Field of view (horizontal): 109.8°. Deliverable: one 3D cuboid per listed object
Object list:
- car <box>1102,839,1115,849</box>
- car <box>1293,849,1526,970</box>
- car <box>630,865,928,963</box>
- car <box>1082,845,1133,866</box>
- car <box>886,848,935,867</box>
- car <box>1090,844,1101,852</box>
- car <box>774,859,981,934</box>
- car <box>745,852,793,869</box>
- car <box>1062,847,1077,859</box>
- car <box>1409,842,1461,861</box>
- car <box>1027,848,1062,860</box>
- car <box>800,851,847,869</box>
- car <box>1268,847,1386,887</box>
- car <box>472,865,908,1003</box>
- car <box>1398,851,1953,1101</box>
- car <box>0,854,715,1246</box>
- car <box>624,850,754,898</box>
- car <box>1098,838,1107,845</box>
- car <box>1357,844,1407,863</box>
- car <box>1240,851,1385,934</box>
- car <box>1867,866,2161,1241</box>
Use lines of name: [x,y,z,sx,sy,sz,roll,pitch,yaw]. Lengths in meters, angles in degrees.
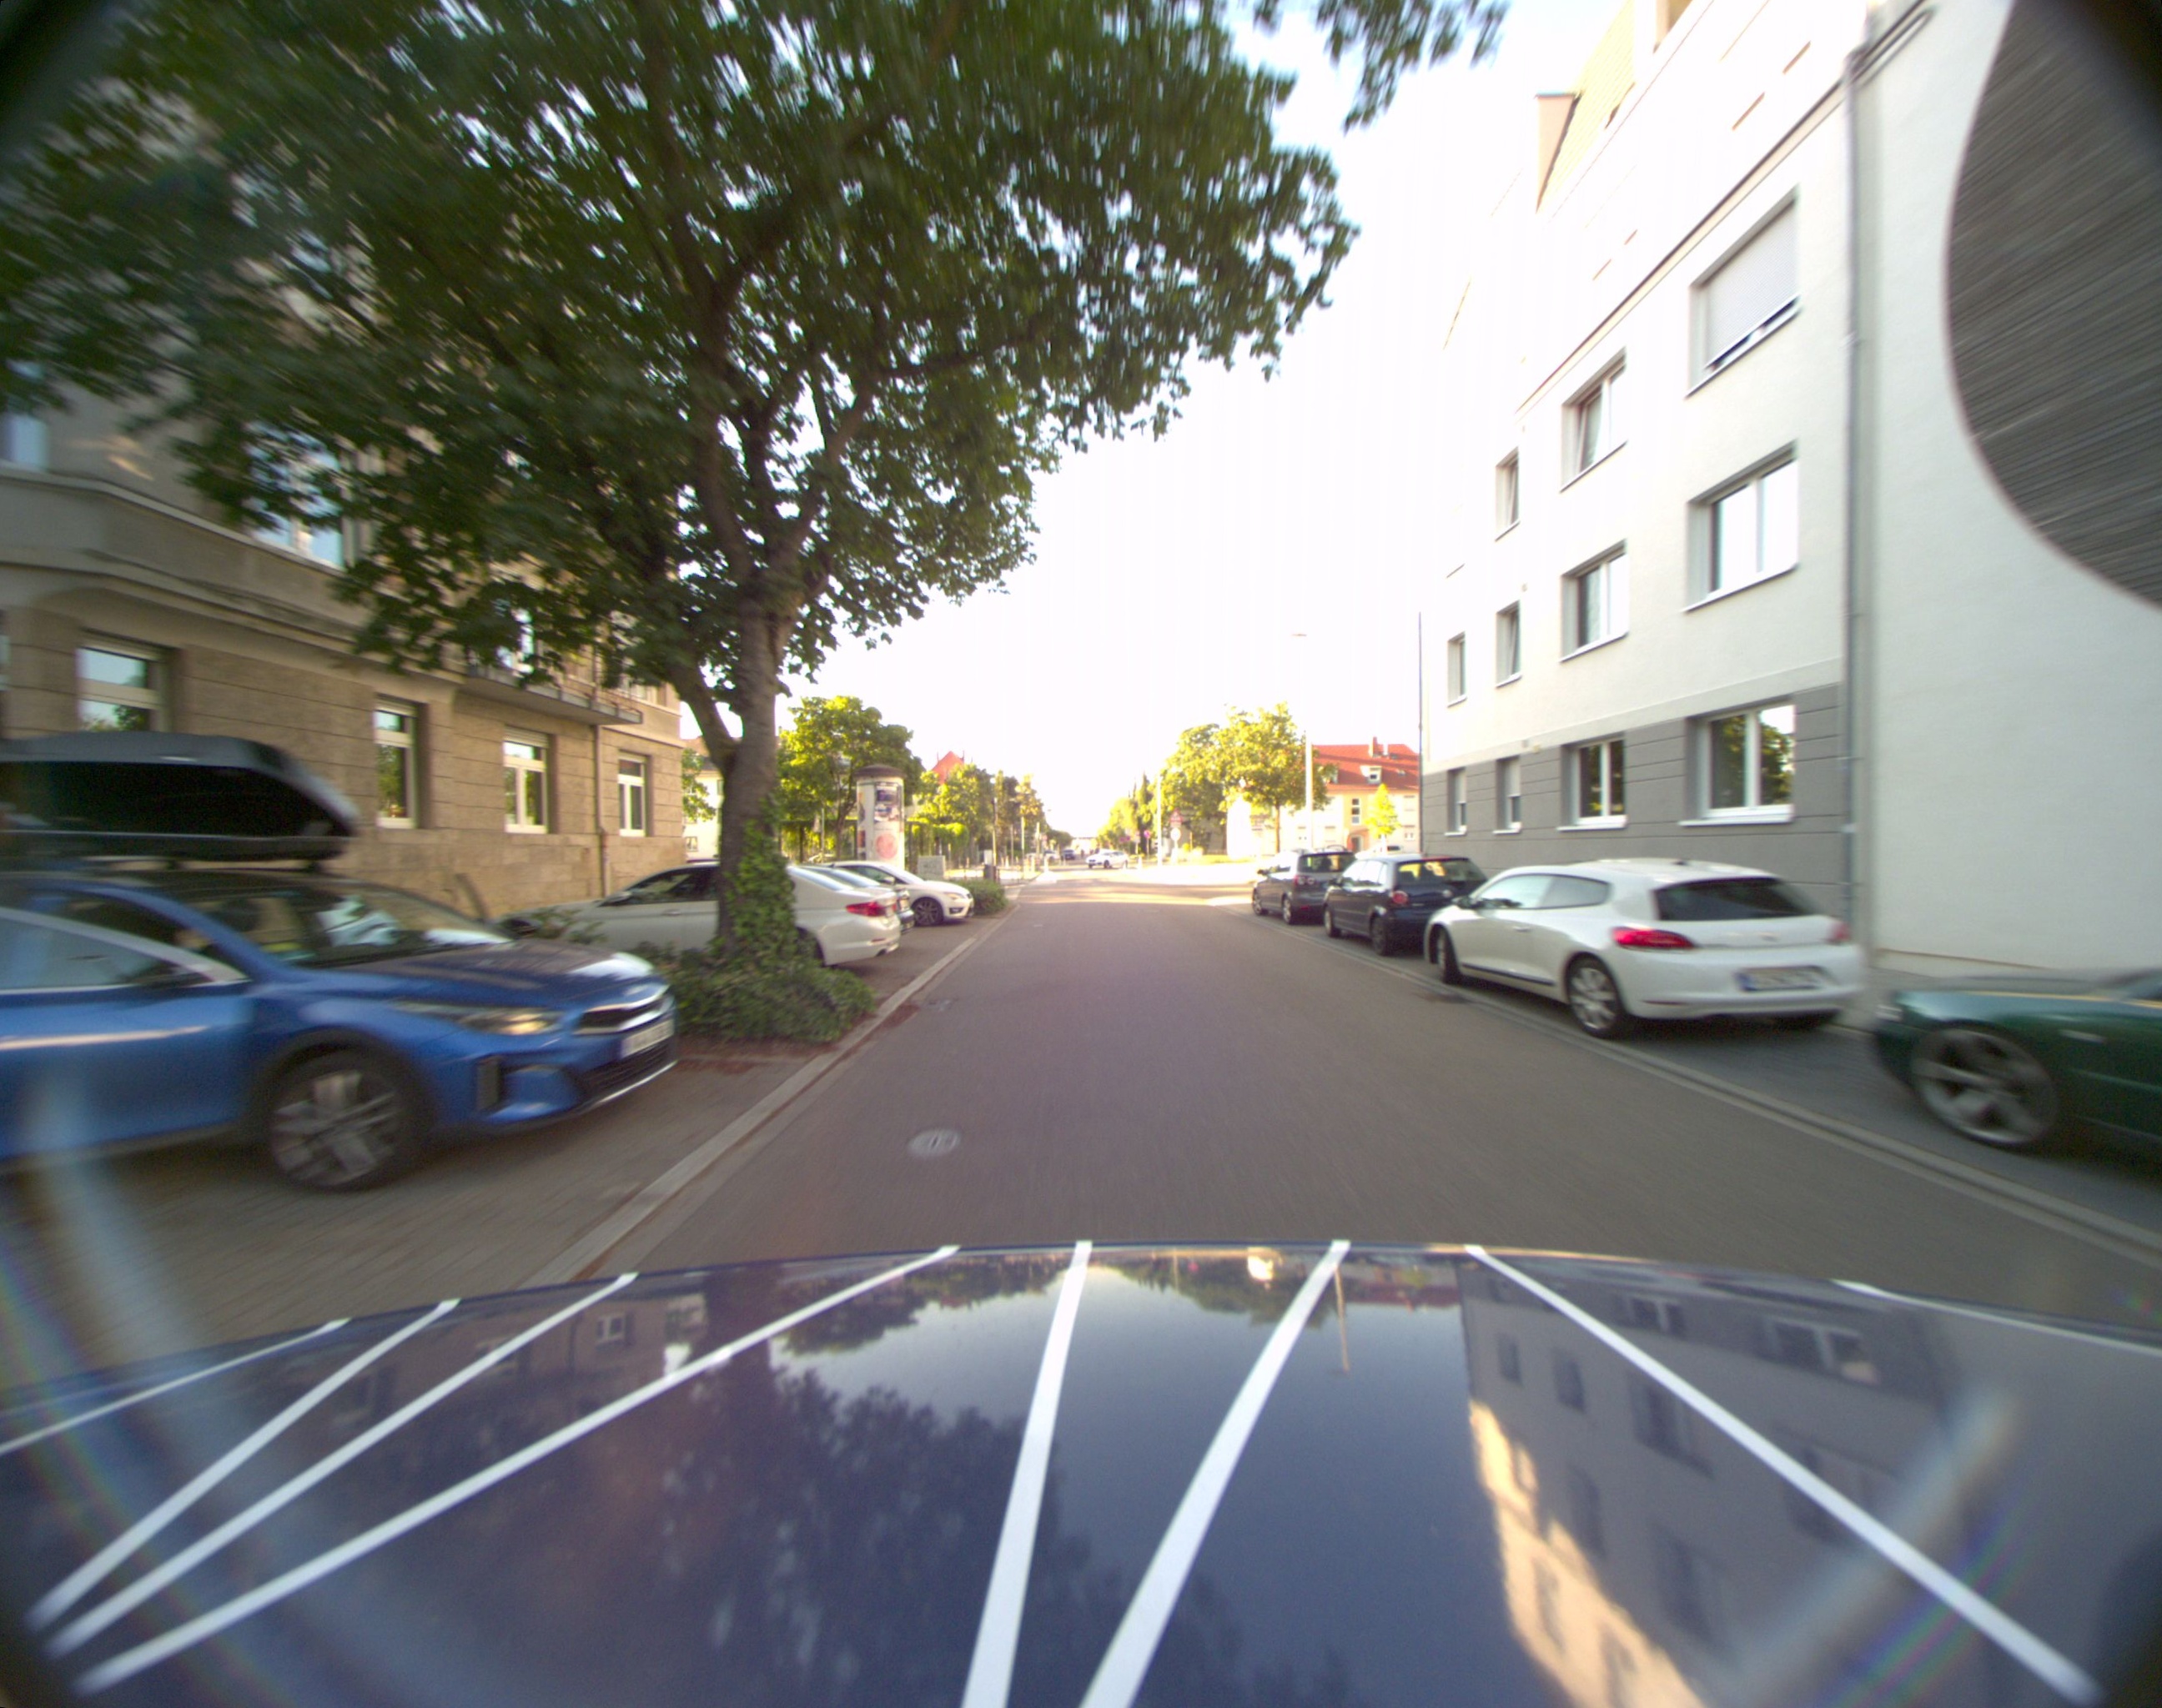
car: [4.593,-1.734,126.675,1.970,1.604,4.246,-1,1,-1]
car: [5.052,0.736,12.375,1.889,1.582,4.089,-1,1,-2]
car: [-4.742,0.925,12.360,4.153,1.439,1.673,0,1,-1]
car: [2.270,0.110,64.471,1.866,1.685,4.310,-2,-1,43]
car: [-16.216,0.324,72.459,4.214,1.631,1.823,-1,-1,-2]
car: [3.006,-1.236,157.732,1.970,1.604,4.246,-1,1,-1]
car: [-4.382,0.895,16.863,4.059,1.497,1.861,-1,1,-1]
car: [-29.780,0.622,72.606,3.757,1.509,1.735,-1,1,0]
car: [-1.747,-0.205,111.619,1.971,1.604,4.245,-1,1,-4]
car: [33.693,-0.243,72.392,3.998,1.685,1.851,-1,-1,-2]
car: [-5.096,-0.026,107.303,4.835,1.604,1.971,-1,1,-2]
car: [-24.540,0.552,72.479,3.769,1.517,1.770,-1,2,3]
car: [11.237,0.576,34.971,4.835,1.659,1.788,-1,1,1]
car: [-4.602,0.908,9.604,4.490,1.516,1.953,0,0,-6]
car: [4.826,0.802,7.099,1.889,1.582,4.089,-1,1,-2]
car: [-4.753,0.854,4.167,4.538,1.631,1.874,-1,1,-1]
car: [-15.160,0.791,29.564,4.085,1.730,1.812,-1,-1,-2]
car: [5.316,-3.045,189.206,1.970,1.604,4.246,-1,1,-1]
car: [28.614,-0.071,72.237,3.998,1.685,1.851,-1,-1,-2]
car: [5.054,0.754,17.233,1.889,1.582,4.089,-1,1,-2]
car: [5.243,0.842,2.164,1.762,1.439,4.141,-2,1,1]
